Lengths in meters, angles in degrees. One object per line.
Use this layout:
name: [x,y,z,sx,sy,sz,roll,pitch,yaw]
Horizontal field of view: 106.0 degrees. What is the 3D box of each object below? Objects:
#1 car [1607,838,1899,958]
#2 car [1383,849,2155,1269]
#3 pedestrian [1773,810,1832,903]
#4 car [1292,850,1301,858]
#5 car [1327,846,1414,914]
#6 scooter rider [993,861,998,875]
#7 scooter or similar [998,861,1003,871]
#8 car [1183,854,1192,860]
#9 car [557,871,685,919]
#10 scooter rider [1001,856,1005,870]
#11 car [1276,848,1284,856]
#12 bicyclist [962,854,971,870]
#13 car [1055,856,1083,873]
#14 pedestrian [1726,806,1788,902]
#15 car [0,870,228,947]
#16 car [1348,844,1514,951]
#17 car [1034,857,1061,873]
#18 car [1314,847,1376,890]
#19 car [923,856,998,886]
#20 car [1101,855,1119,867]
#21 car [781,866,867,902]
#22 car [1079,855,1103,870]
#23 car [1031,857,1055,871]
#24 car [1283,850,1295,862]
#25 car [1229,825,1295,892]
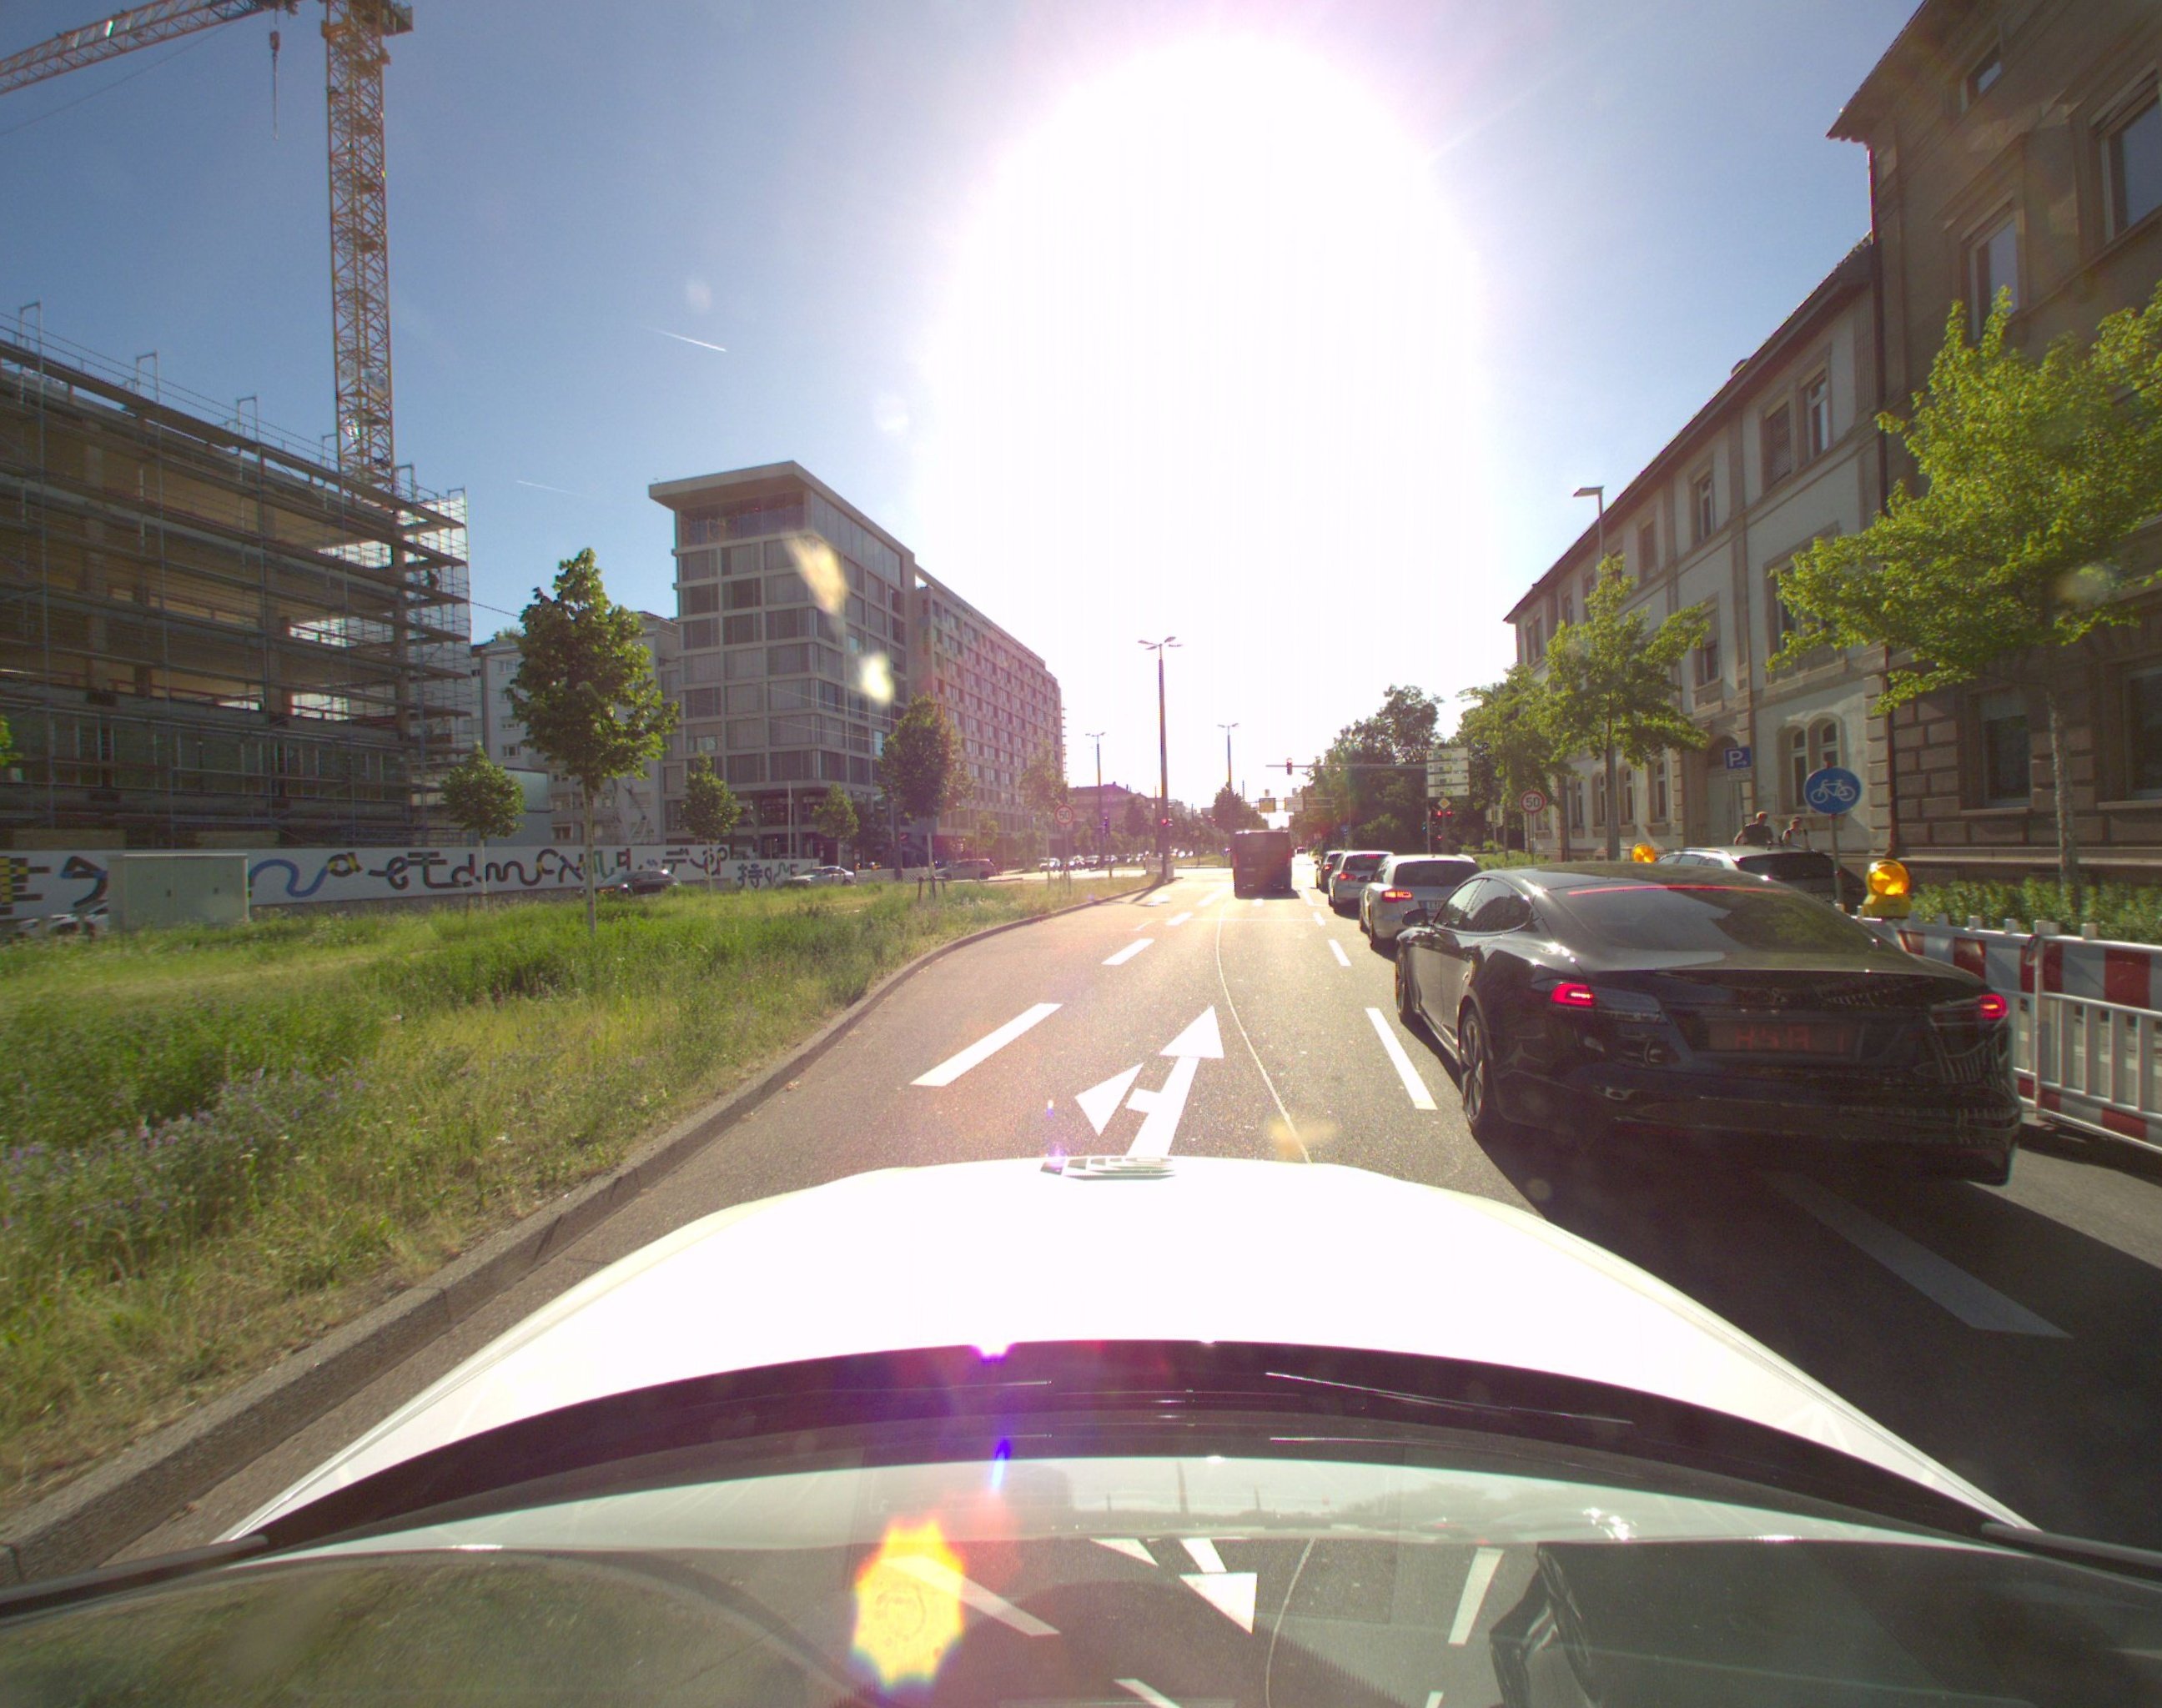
car: [10.261,0.566,12.979,1.636,1.475,4.718,-4,-1,14]
car: [3.305,0.707,5.276,2.036,1.443,4.541,0,1,14]
pedestrian: [14.696,0.043,16.602,0.559,1.821,0.589,-5,-1,14]
car: [49.725,0.060,187.715,1.779,1.873,3.863,0,0,13]
car: [7.181,0.577,20.506,1.737,1.527,4.021,-1,0,15]
scooter rider: [-8.614,1.411,81.948,0.340,1.453,0.240,-2,0,14]
scooter or similar: [-8.032,1.184,81.547,0.227,0.947,0.770,-2,0,15]
car: [29.364,0.746,224.992,1.777,1.651,4.016,-2,0,15]
car: [-20.111,1.763,35.854,1.975,1.792,4.553,-2,0,25]
scooter rider: [-7.818,0.916,81.540,0.340,1.453,0.240,-2,0,14]
car: [47.239,-0.513,193.357,1.779,1.873,3.863,0,0,13]
bicyclist: [-11.779,0.810,83.792,0.588,1.580,0.896,0,0,18]
car: [-1.242,1.118,85.608,1.777,1.651,4.016,-2,0,15]
pedestrian: [13.916,0.000,16.781,0.653,1.913,0.589,-5,-1,14]
car: [-28.165,1.506,23.808,1.892,1.918,4.007,-2,0,21]
car: [5.485,0.569,13.378,1.735,1.427,4.857,-1,0,14]
car: [-3.633,1.153,88.671,1.777,1.651,4.016,-2,0,15]
car: [9.467,0.497,29.479,1.779,1.428,3.863,0,0,13]
car: [-8.049,1.116,54.323,4.537,1.792,1.982,-2,0,-27]
car: [4.179,1.039,117.316,1.777,1.651,4.016,-2,0,15]
car: [-14.695,1.683,46.794,1.974,1.792,4.555,-2,0,30]
car: [1.185,0.948,93.398,1.777,1.651,4.016,-2,0,15]
car: [-4.773,1.192,103.331,1.777,1.651,4.016,-2,0,15]
car: [34.050,0.289,133.609,1.779,1.873,3.863,0,0,13]
car: [6.730,0.126,30.148,2.202,2.267,4.500,0,1,13]
